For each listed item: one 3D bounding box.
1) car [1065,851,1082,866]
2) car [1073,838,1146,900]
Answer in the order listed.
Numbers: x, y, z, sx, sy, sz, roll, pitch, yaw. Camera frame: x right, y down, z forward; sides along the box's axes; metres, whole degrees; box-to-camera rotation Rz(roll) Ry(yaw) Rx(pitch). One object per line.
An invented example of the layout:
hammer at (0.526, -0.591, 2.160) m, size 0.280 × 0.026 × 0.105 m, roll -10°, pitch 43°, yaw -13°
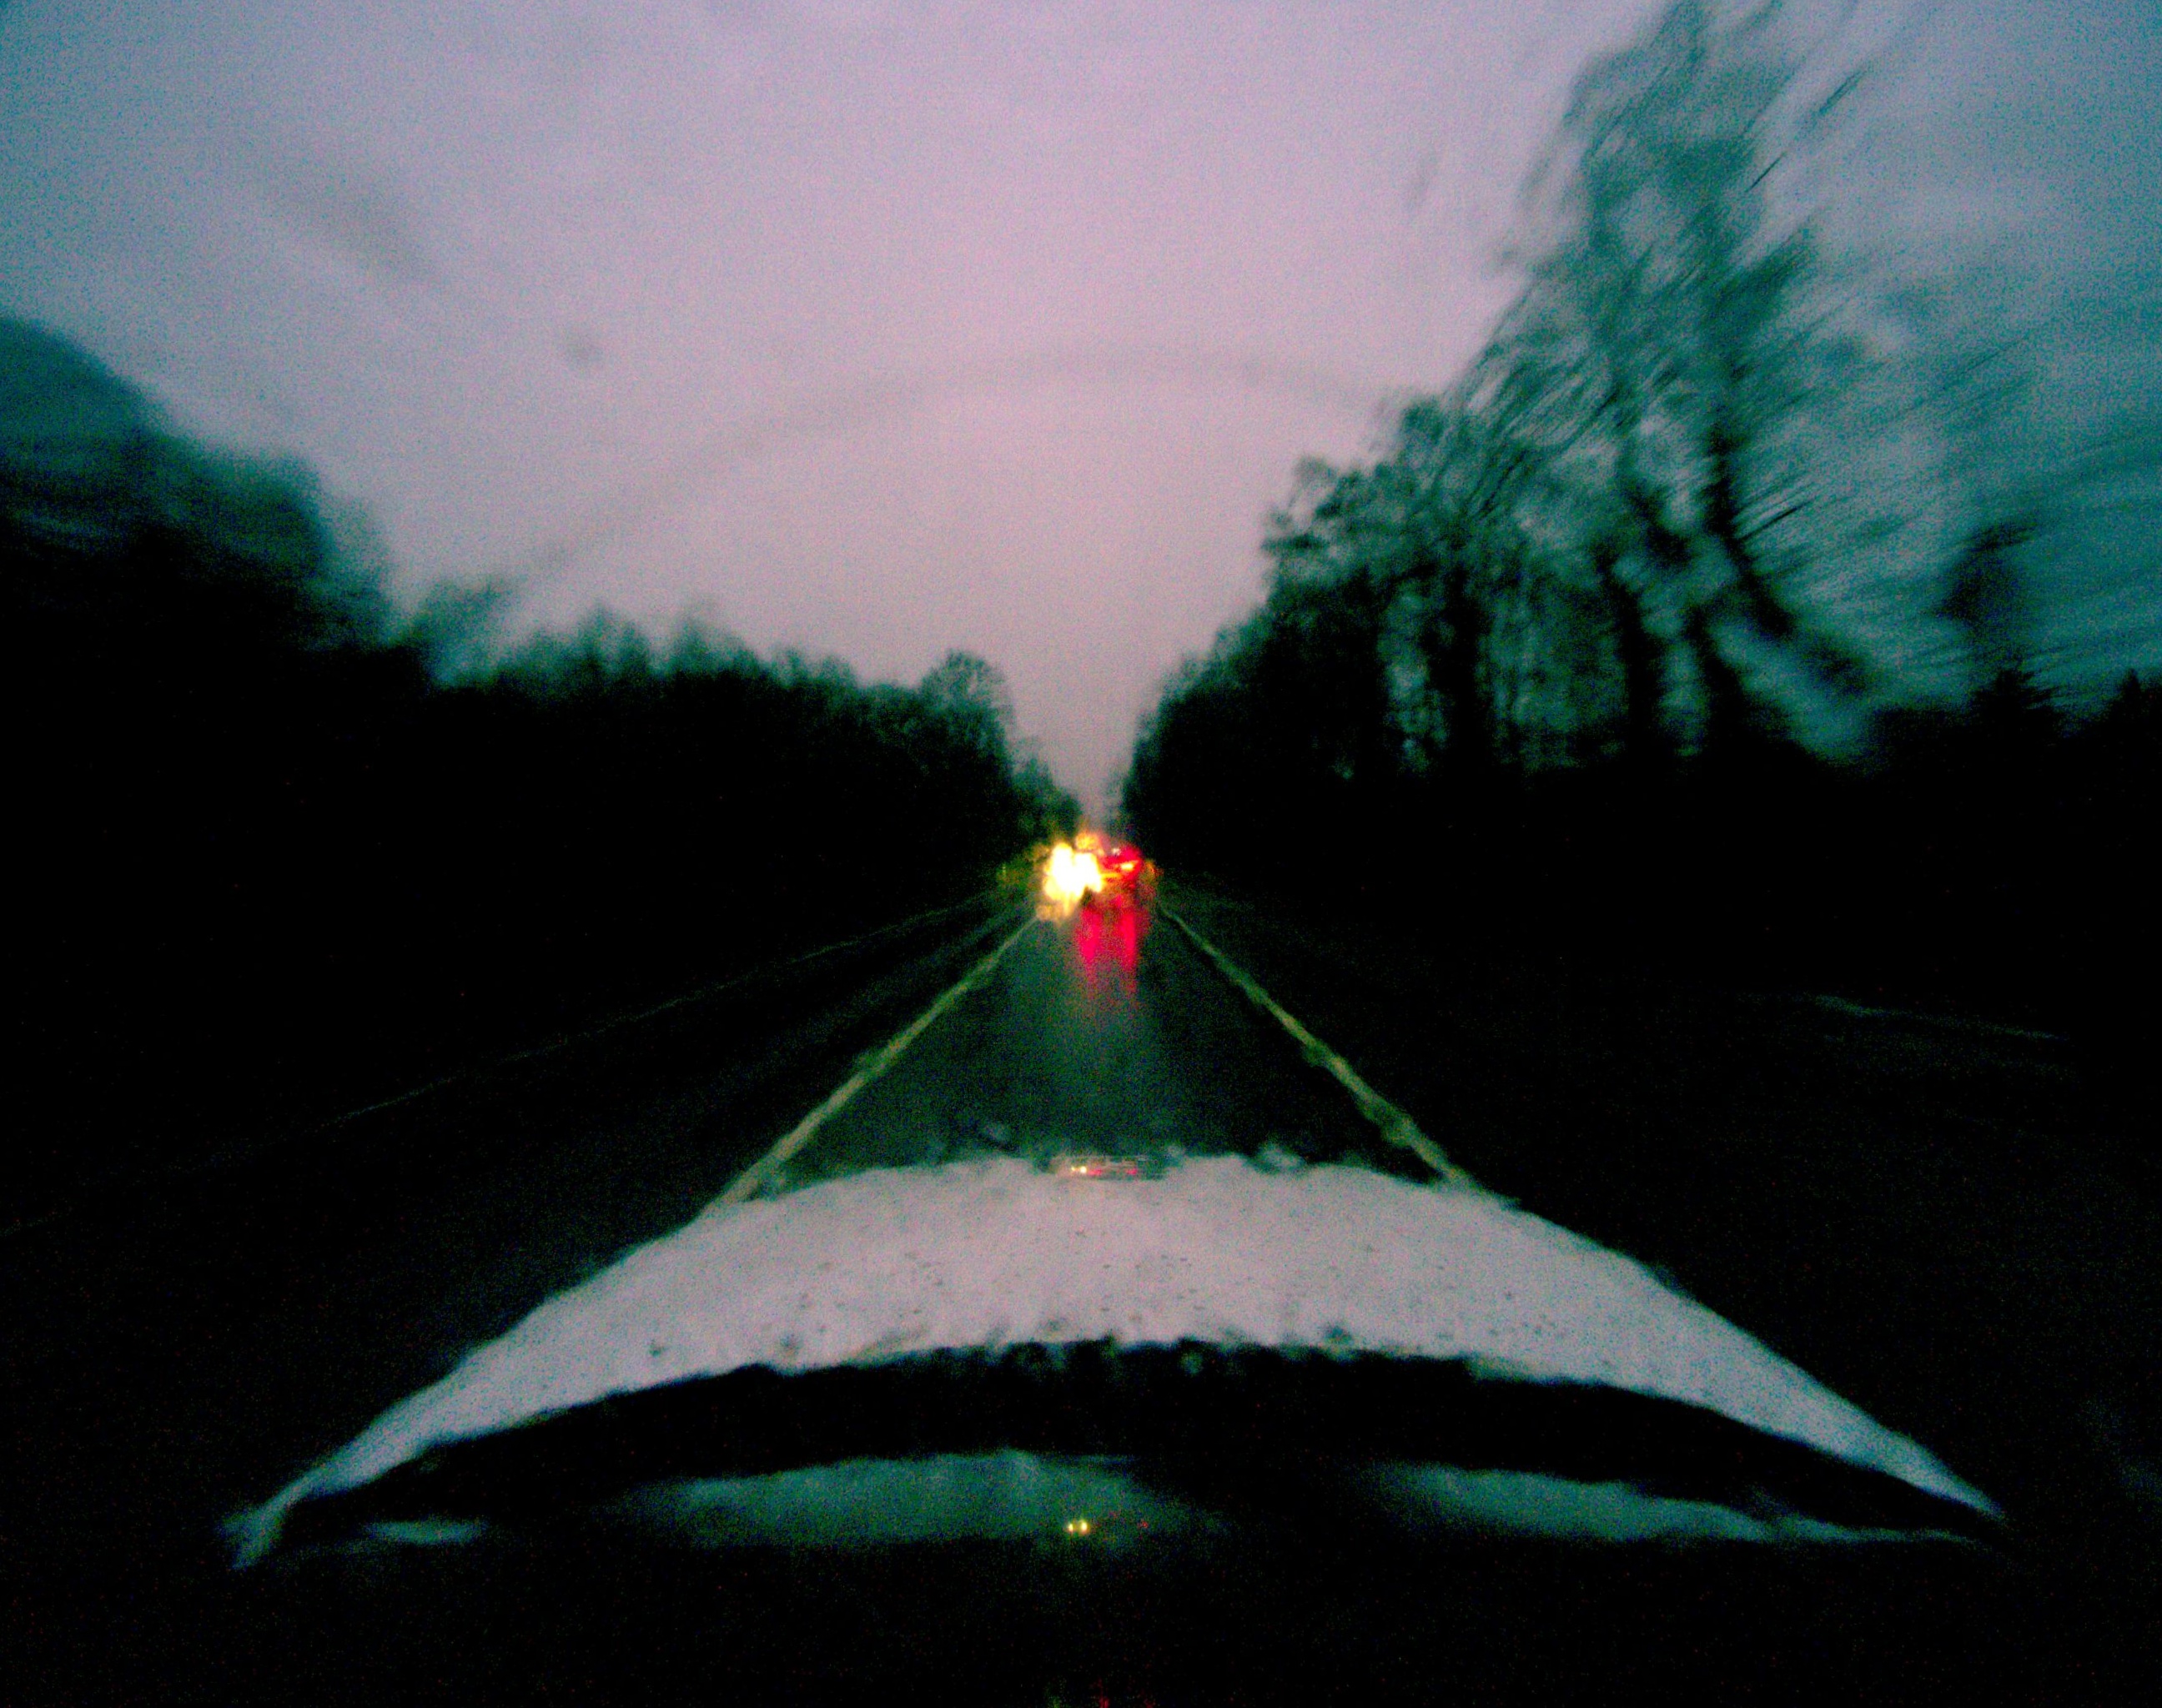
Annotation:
car at (-0.765, 0.447, 86.267) m, size 1.592 × 1.495 × 3.897 m, roll -3°, pitch 0°, yaw 2°
car at (0.921, 0.440, 27.191) m, size 2.190 × 1.877 × 4.828 m, roll 0°, pitch 0°, yaw 1°
